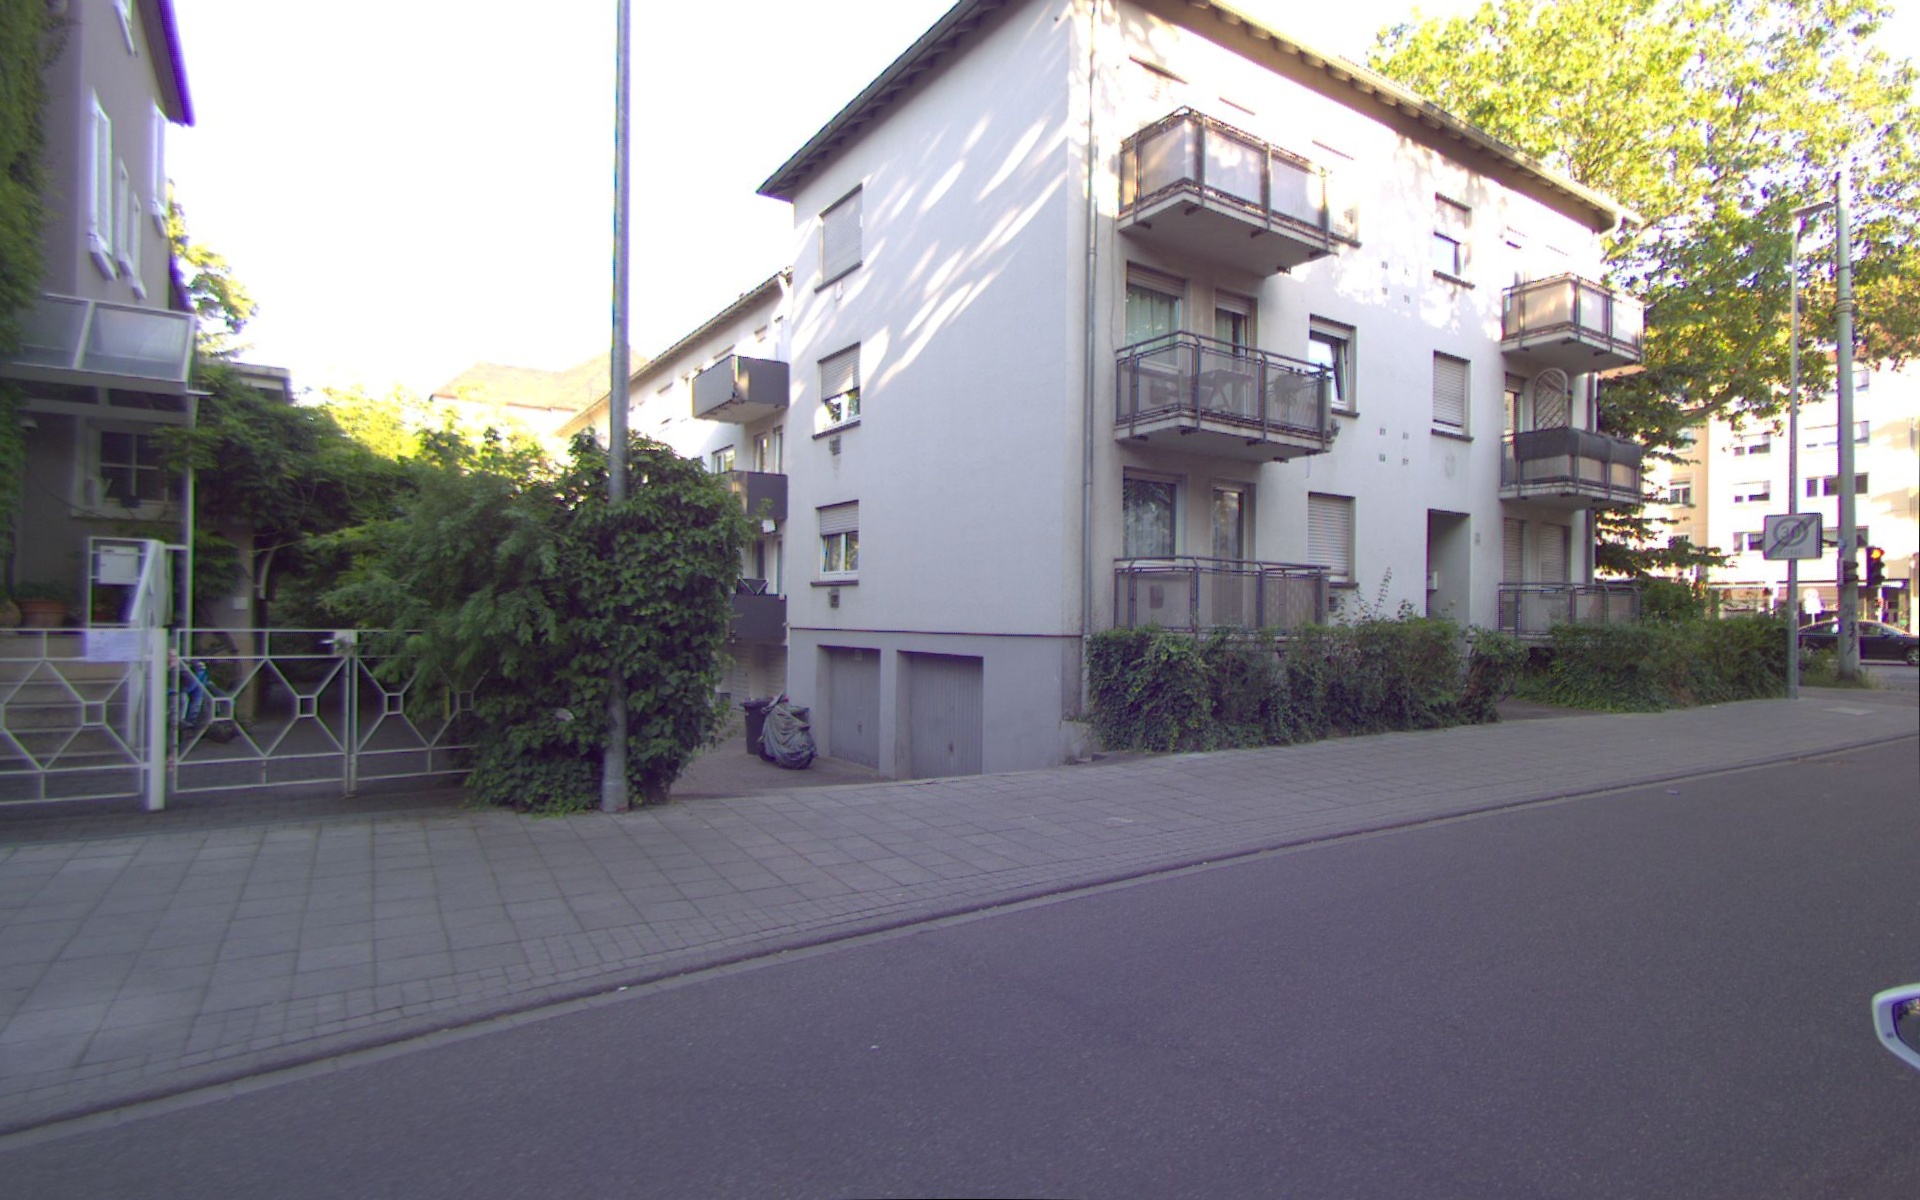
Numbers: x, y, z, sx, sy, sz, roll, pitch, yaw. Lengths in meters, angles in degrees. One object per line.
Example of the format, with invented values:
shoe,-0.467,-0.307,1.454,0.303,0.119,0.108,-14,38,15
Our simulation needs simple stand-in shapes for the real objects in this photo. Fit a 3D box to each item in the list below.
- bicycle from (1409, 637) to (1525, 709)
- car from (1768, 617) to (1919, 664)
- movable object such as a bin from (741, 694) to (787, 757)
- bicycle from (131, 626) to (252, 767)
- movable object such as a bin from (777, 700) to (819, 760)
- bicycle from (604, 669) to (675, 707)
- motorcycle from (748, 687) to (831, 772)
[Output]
bicycle,8.234,1.171,16.372,1.590,1.022,0.517,3,1,19
car,29.592,1.290,32.890,1.704,1.447,4.653,1,-1,-38
movable object such as a bin,-3.774,2.403,19.339,0.606,1.129,0.794,1,-3,-34
bicycle,-7.192,0.833,9.486,0.469,1.117,2.190,1,0,-26
movable object such as a bin,-3.022,2.410,18.756,0.606,1.051,0.534,1,-3,-34
bicycle,-9.674,2.651,30.328,1.983,1.085,0.561,1,-3,-31
motorcycle,-3.014,2.240,17.673,0.739,1.313,1.562,1,-2,-41
